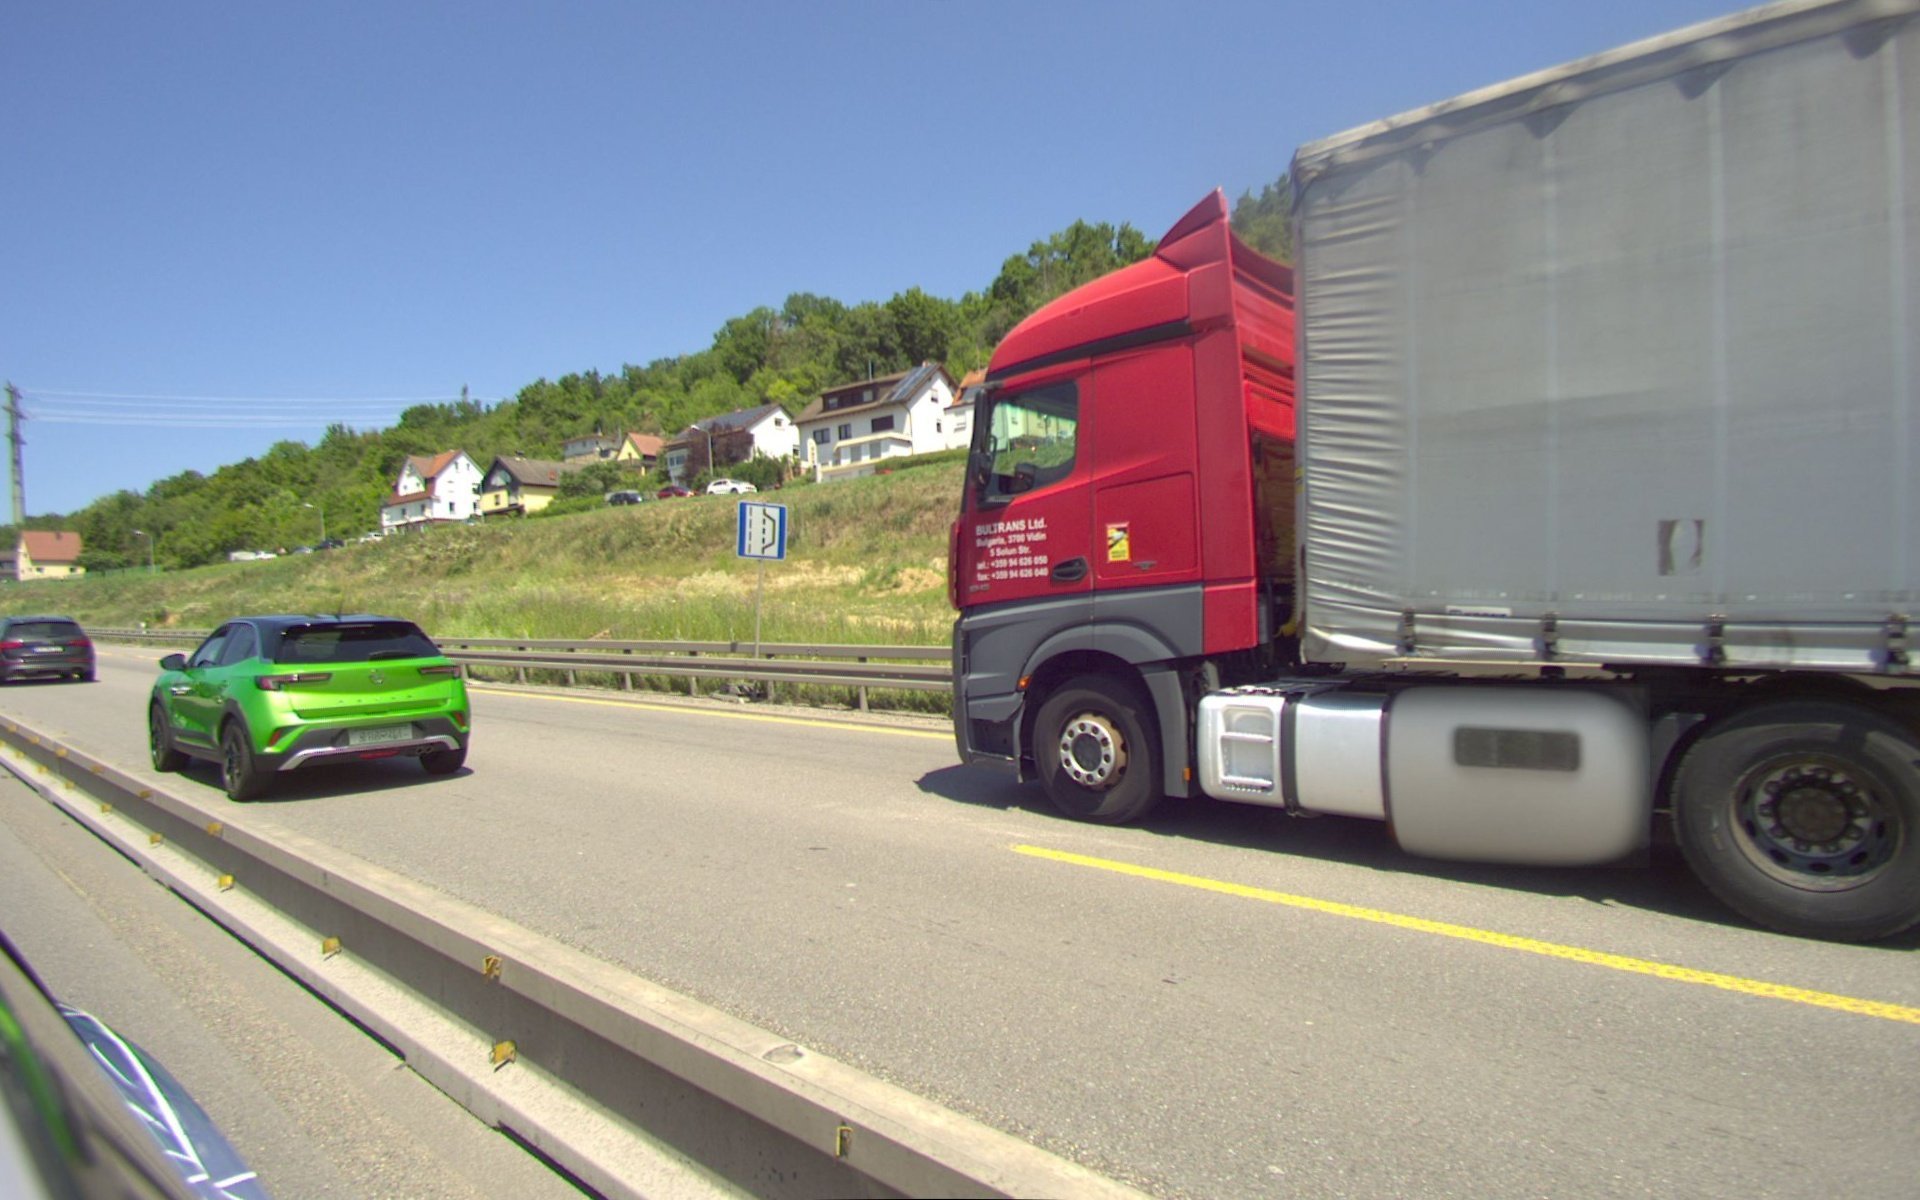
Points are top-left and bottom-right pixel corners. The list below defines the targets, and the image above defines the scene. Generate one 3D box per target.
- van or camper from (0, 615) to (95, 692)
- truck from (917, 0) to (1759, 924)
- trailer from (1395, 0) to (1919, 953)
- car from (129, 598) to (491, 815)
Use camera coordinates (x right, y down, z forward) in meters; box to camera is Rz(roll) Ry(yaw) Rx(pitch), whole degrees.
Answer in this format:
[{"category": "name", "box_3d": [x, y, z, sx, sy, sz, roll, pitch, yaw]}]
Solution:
[{"category": "van or camper", "box_3d": [-22.443, 1.238, 24.450, 3.886, 1.681, 1.809, -2, -1, 41]}, {"category": "truck", "box_3d": [2.368, -0.686, 6.843, 4.595, 4.155, 2.792, -2, -1, 41]}, {"category": "trailer", "box_3d": [8.220, -0.842, 1.774, 13.429, 4.155, 2.827, -2, -1, 41]}, {"category": "car", "box_3d": [-6.126, 0.814, 9.362, 3.998, 1.519, 1.736, -2, 1, 41]}]
